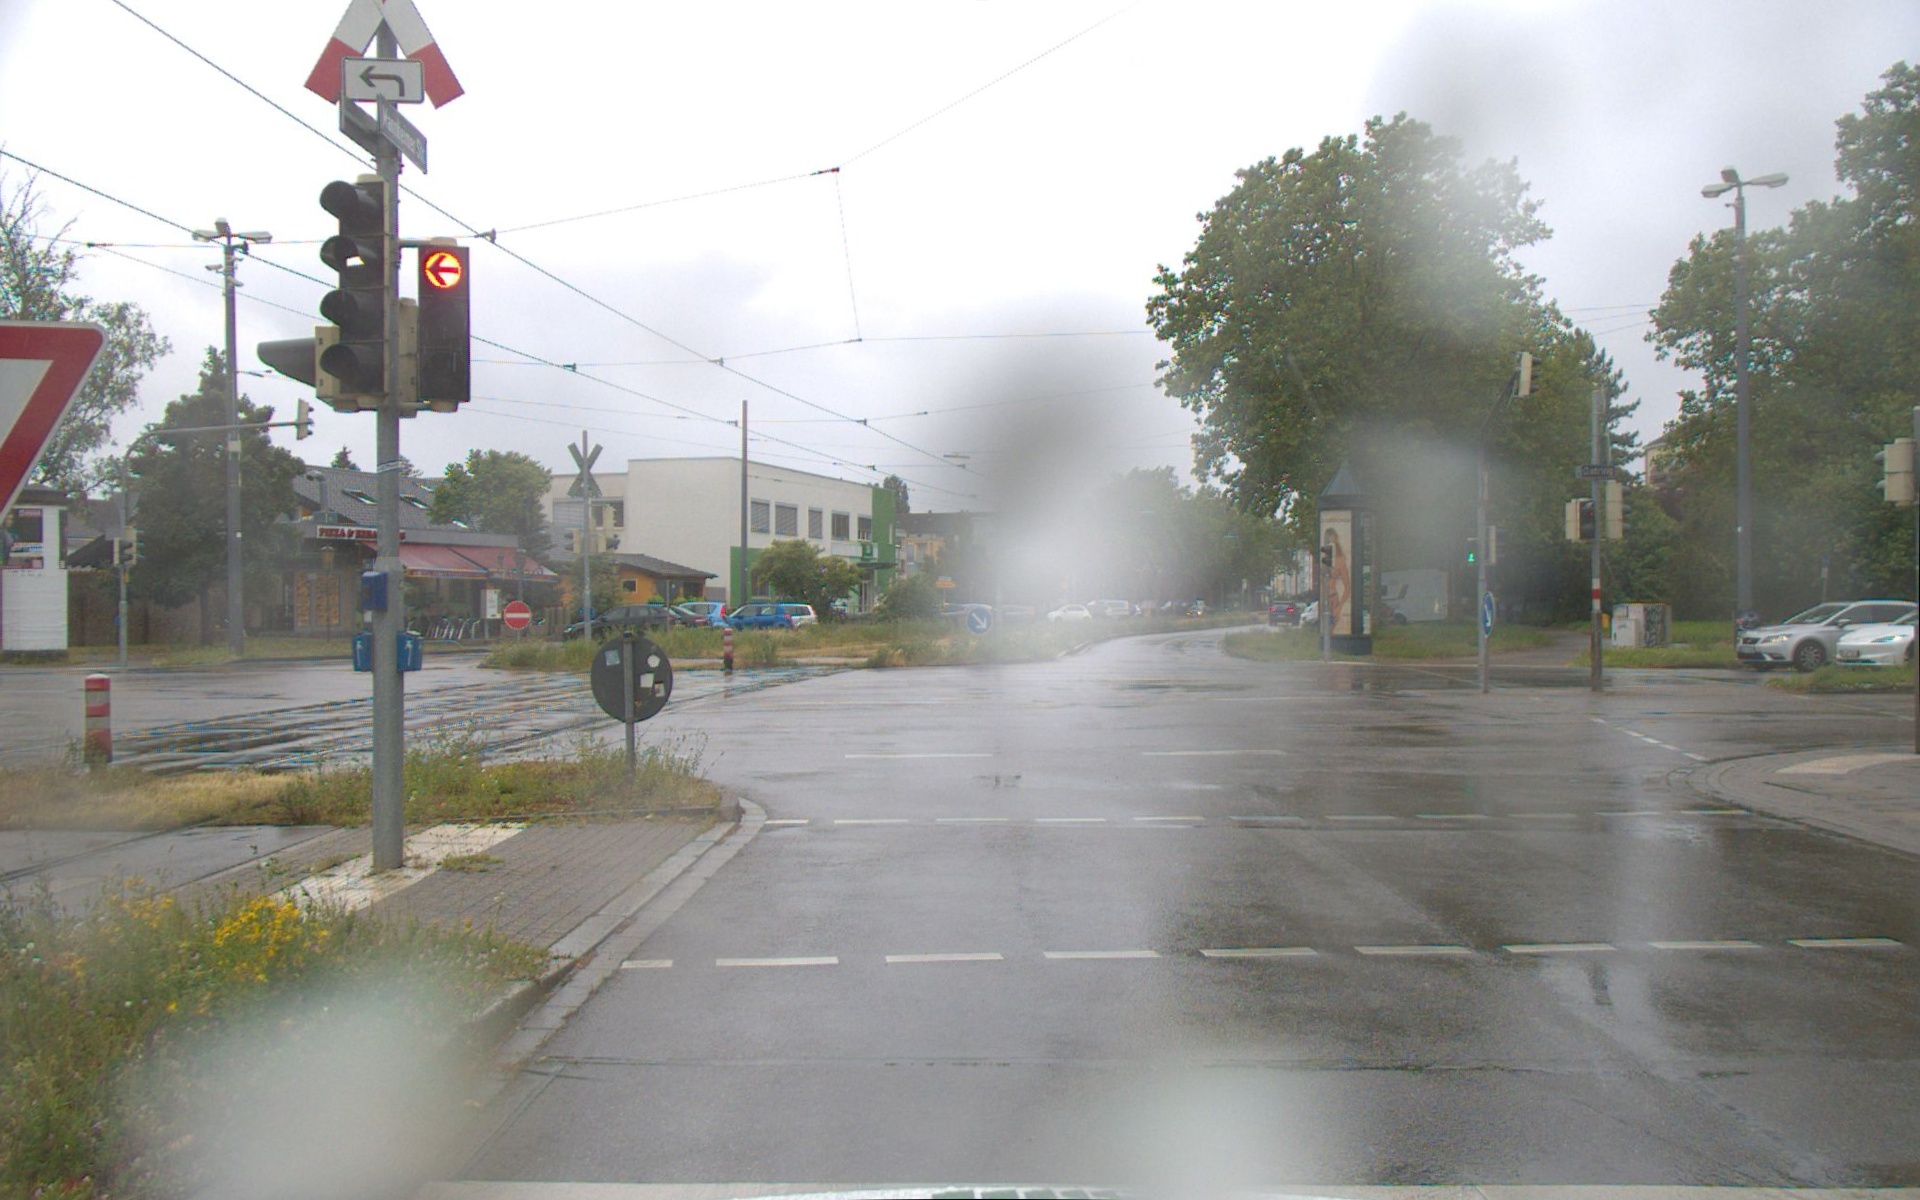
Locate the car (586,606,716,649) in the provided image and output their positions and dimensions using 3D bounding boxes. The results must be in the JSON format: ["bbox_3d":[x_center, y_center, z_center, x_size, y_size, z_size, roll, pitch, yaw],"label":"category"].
[{"bbox_3d":[-11.407,1.017,61.199,4.405,1.443,1.858,-2,0,0],"label":"car"}]

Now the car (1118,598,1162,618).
[{"bbox_3d":[17.340,0.749,159.164,3.909,1.864,1.998,1,0,-5],"label":"car"}]

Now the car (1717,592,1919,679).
[{"bbox_3d":[18.432,0.732,34.643,4.309,1.721,1.931,1,0,-7],"label":"car"}]

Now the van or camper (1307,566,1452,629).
[{"bbox_3d":[22.824,-0.144,89.999,7.274,3.234,3.262,1,0,22],"label":"van or camper"}]

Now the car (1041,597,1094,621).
[{"bbox_3d":[8.255,0.696,126.877,3.706,1.732,1.832,1,0,-11],"label":"car"}]

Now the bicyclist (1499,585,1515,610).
[{"bbox_3d":[32.299,-0.120,97.625,0.843,1.450,0.957,1,0,16],"label":"bicyclist"}]

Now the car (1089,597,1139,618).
[{"bbox_3d":[13.519,0.660,145.034,3.917,1.789,2.004,1,0,-12],"label":"car"}]

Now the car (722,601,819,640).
[{"bbox_3d":[-8.366,0.881,72.764,4.040,1.670,1.922,0,0,-15],"label":"car"}]

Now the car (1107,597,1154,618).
[{"bbox_3d":[15.868,0.702,154.073,3.917,1.864,1.994,1,0,-12],"label":"car"}]

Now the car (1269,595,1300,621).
[{"bbox_3d":[22.396,0.556,114.090,1.768,1.716,3.914,1,0,15],"label":"car"}]

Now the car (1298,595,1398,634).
[{"bbox_3d":[18.274,0.665,77.821,4.352,1.747,2.000,1,0,21],"label":"car"}]

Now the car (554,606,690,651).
[{"bbox_3d":[-11.984,0.999,58.783,4.385,1.443,1.858,-2,0,0],"label":"car"}]

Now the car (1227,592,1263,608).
[{"bbox_3d":[34.272,-0.018,199.204,3.909,1.864,1.998,1,0,-5],"label":"car"}]

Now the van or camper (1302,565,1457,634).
[{"bbox_3d":[20.530,-0.038,80.857,7.168,3.234,3.264,1,0,17],"label":"van or camper"}]

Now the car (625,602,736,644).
[{"bbox_3d":[-10.891,0.880,64.598,3.903,1.609,1.859,0,0,4],"label":"car"}]

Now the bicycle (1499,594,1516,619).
[{"bbox_3d":[32.253,0.407,97.472,0.843,1.450,2.705,1,0,16],"label":"bicycle"}]

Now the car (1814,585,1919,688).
[{"bbox_3d":[18.871,0.704,31.300,4.506,1.860,1.931,1,0,-7],"label":"car"}]

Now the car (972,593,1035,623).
[{"bbox_3d":[2.877,0.509,110.271,3.911,1.920,1.997,1,0,-7],"label":"car"}]

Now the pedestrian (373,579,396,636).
[{"bbox_3d":[-21.014,0.263,60.420,0.713,2.049,0.789,1,-1,-23],"label":"pedestrian"}]

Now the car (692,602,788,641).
[{"bbox_3d":[-9.264,0.882,69.575,3.916,1.609,1.924,0,0,-12],"label":"car"}]
